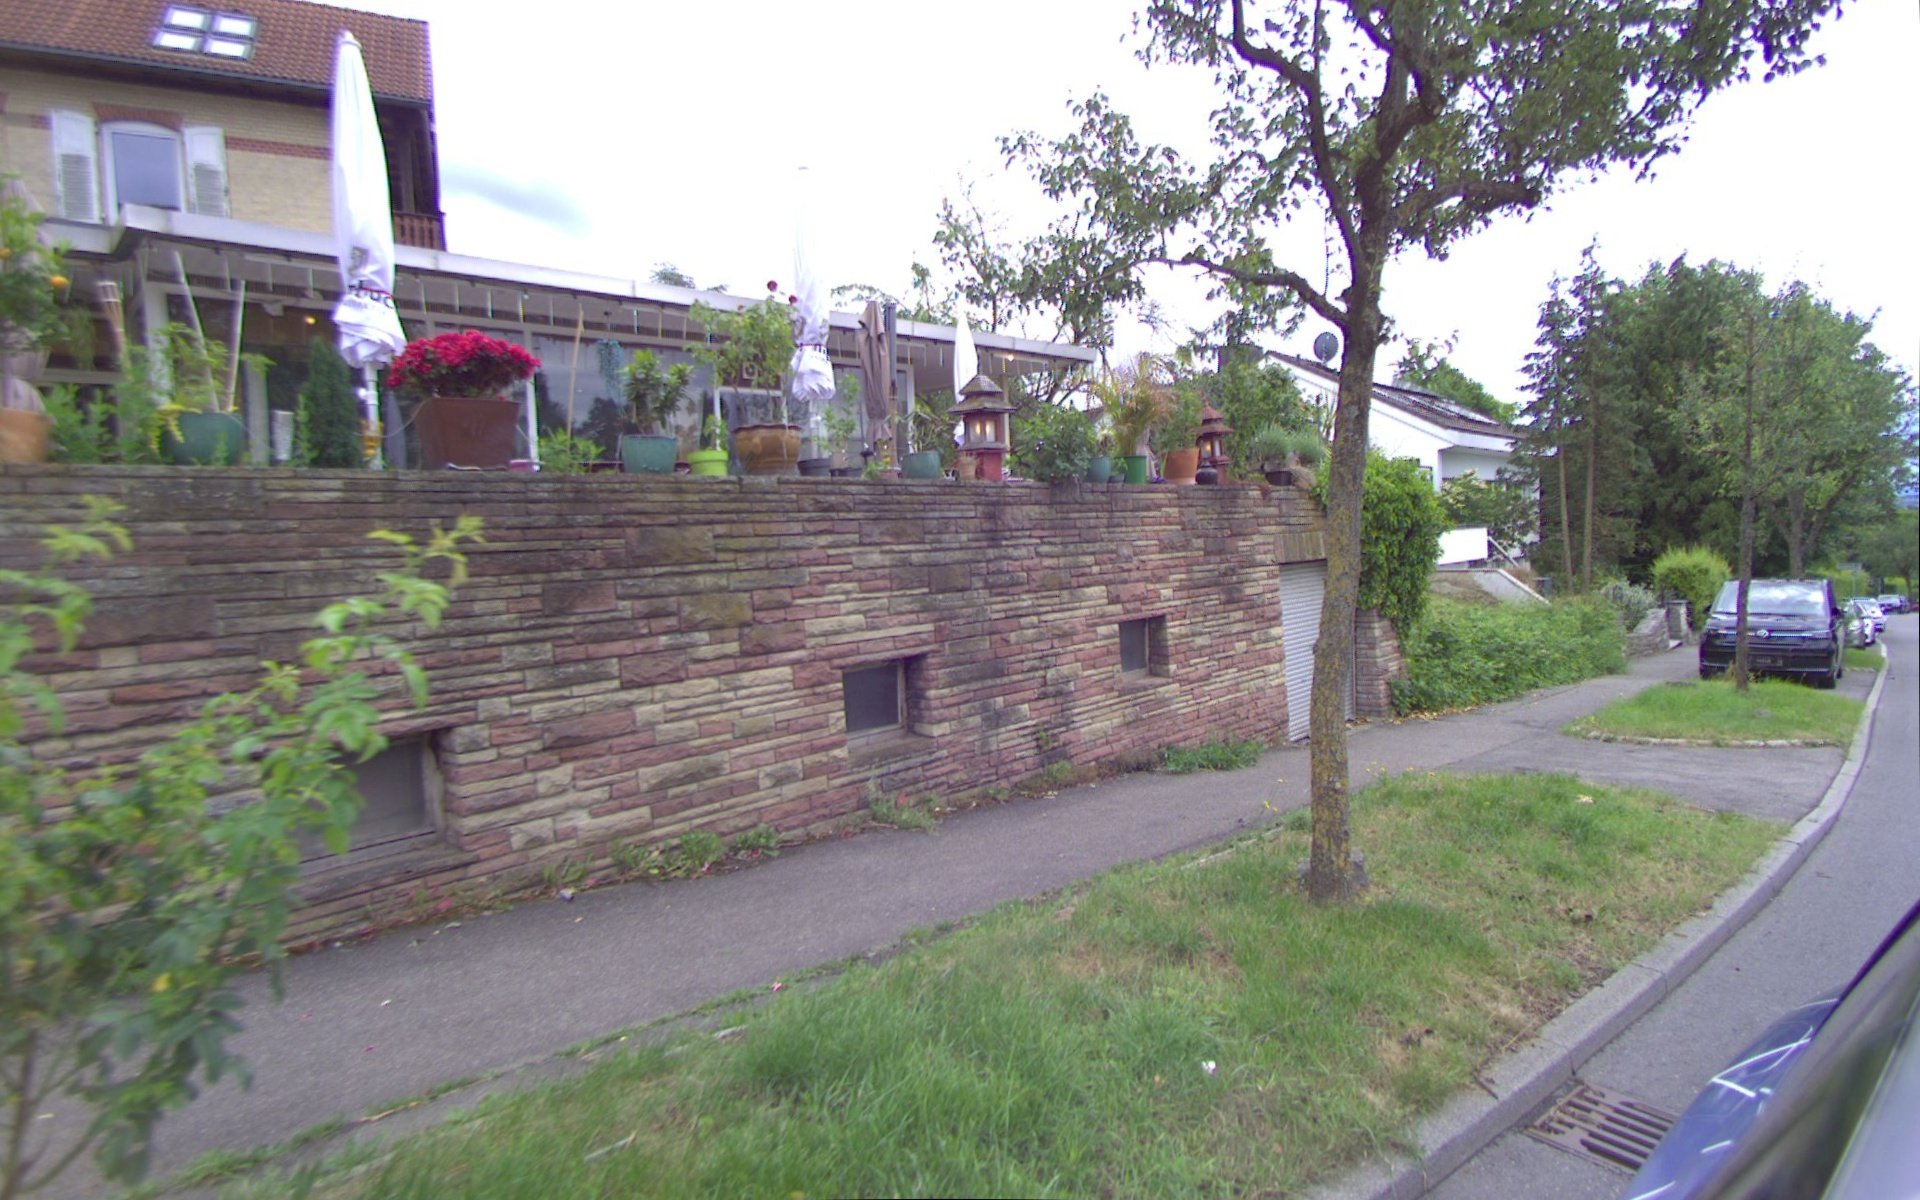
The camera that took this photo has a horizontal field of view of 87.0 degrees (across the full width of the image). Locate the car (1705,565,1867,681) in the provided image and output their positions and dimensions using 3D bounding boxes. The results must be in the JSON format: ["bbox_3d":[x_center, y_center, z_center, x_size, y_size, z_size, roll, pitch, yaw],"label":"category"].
[{"bbox_3d":[15.442,0.325,18.804,1.936,1.861,5.137,1,1,43],"label":"car"}]

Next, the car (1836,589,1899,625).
[{"bbox_3d":[44.463,0.319,49.664,1.997,1.628,4.692,2,2,39],"label":"car"}]

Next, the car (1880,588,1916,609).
[{"bbox_3d":[73.859,-0.111,79.672,4.305,1.507,1.792,0,2,-43],"label":"car"}]

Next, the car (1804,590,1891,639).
[{"bbox_3d":[30.727,0.465,34.980,1.994,1.510,4.924,3,2,44],"label":"car"}]

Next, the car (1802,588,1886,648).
[{"bbox_3d":[26.190,0.476,29.940,1.716,1.653,3.867,-1,0,43],"label":"car"}]
